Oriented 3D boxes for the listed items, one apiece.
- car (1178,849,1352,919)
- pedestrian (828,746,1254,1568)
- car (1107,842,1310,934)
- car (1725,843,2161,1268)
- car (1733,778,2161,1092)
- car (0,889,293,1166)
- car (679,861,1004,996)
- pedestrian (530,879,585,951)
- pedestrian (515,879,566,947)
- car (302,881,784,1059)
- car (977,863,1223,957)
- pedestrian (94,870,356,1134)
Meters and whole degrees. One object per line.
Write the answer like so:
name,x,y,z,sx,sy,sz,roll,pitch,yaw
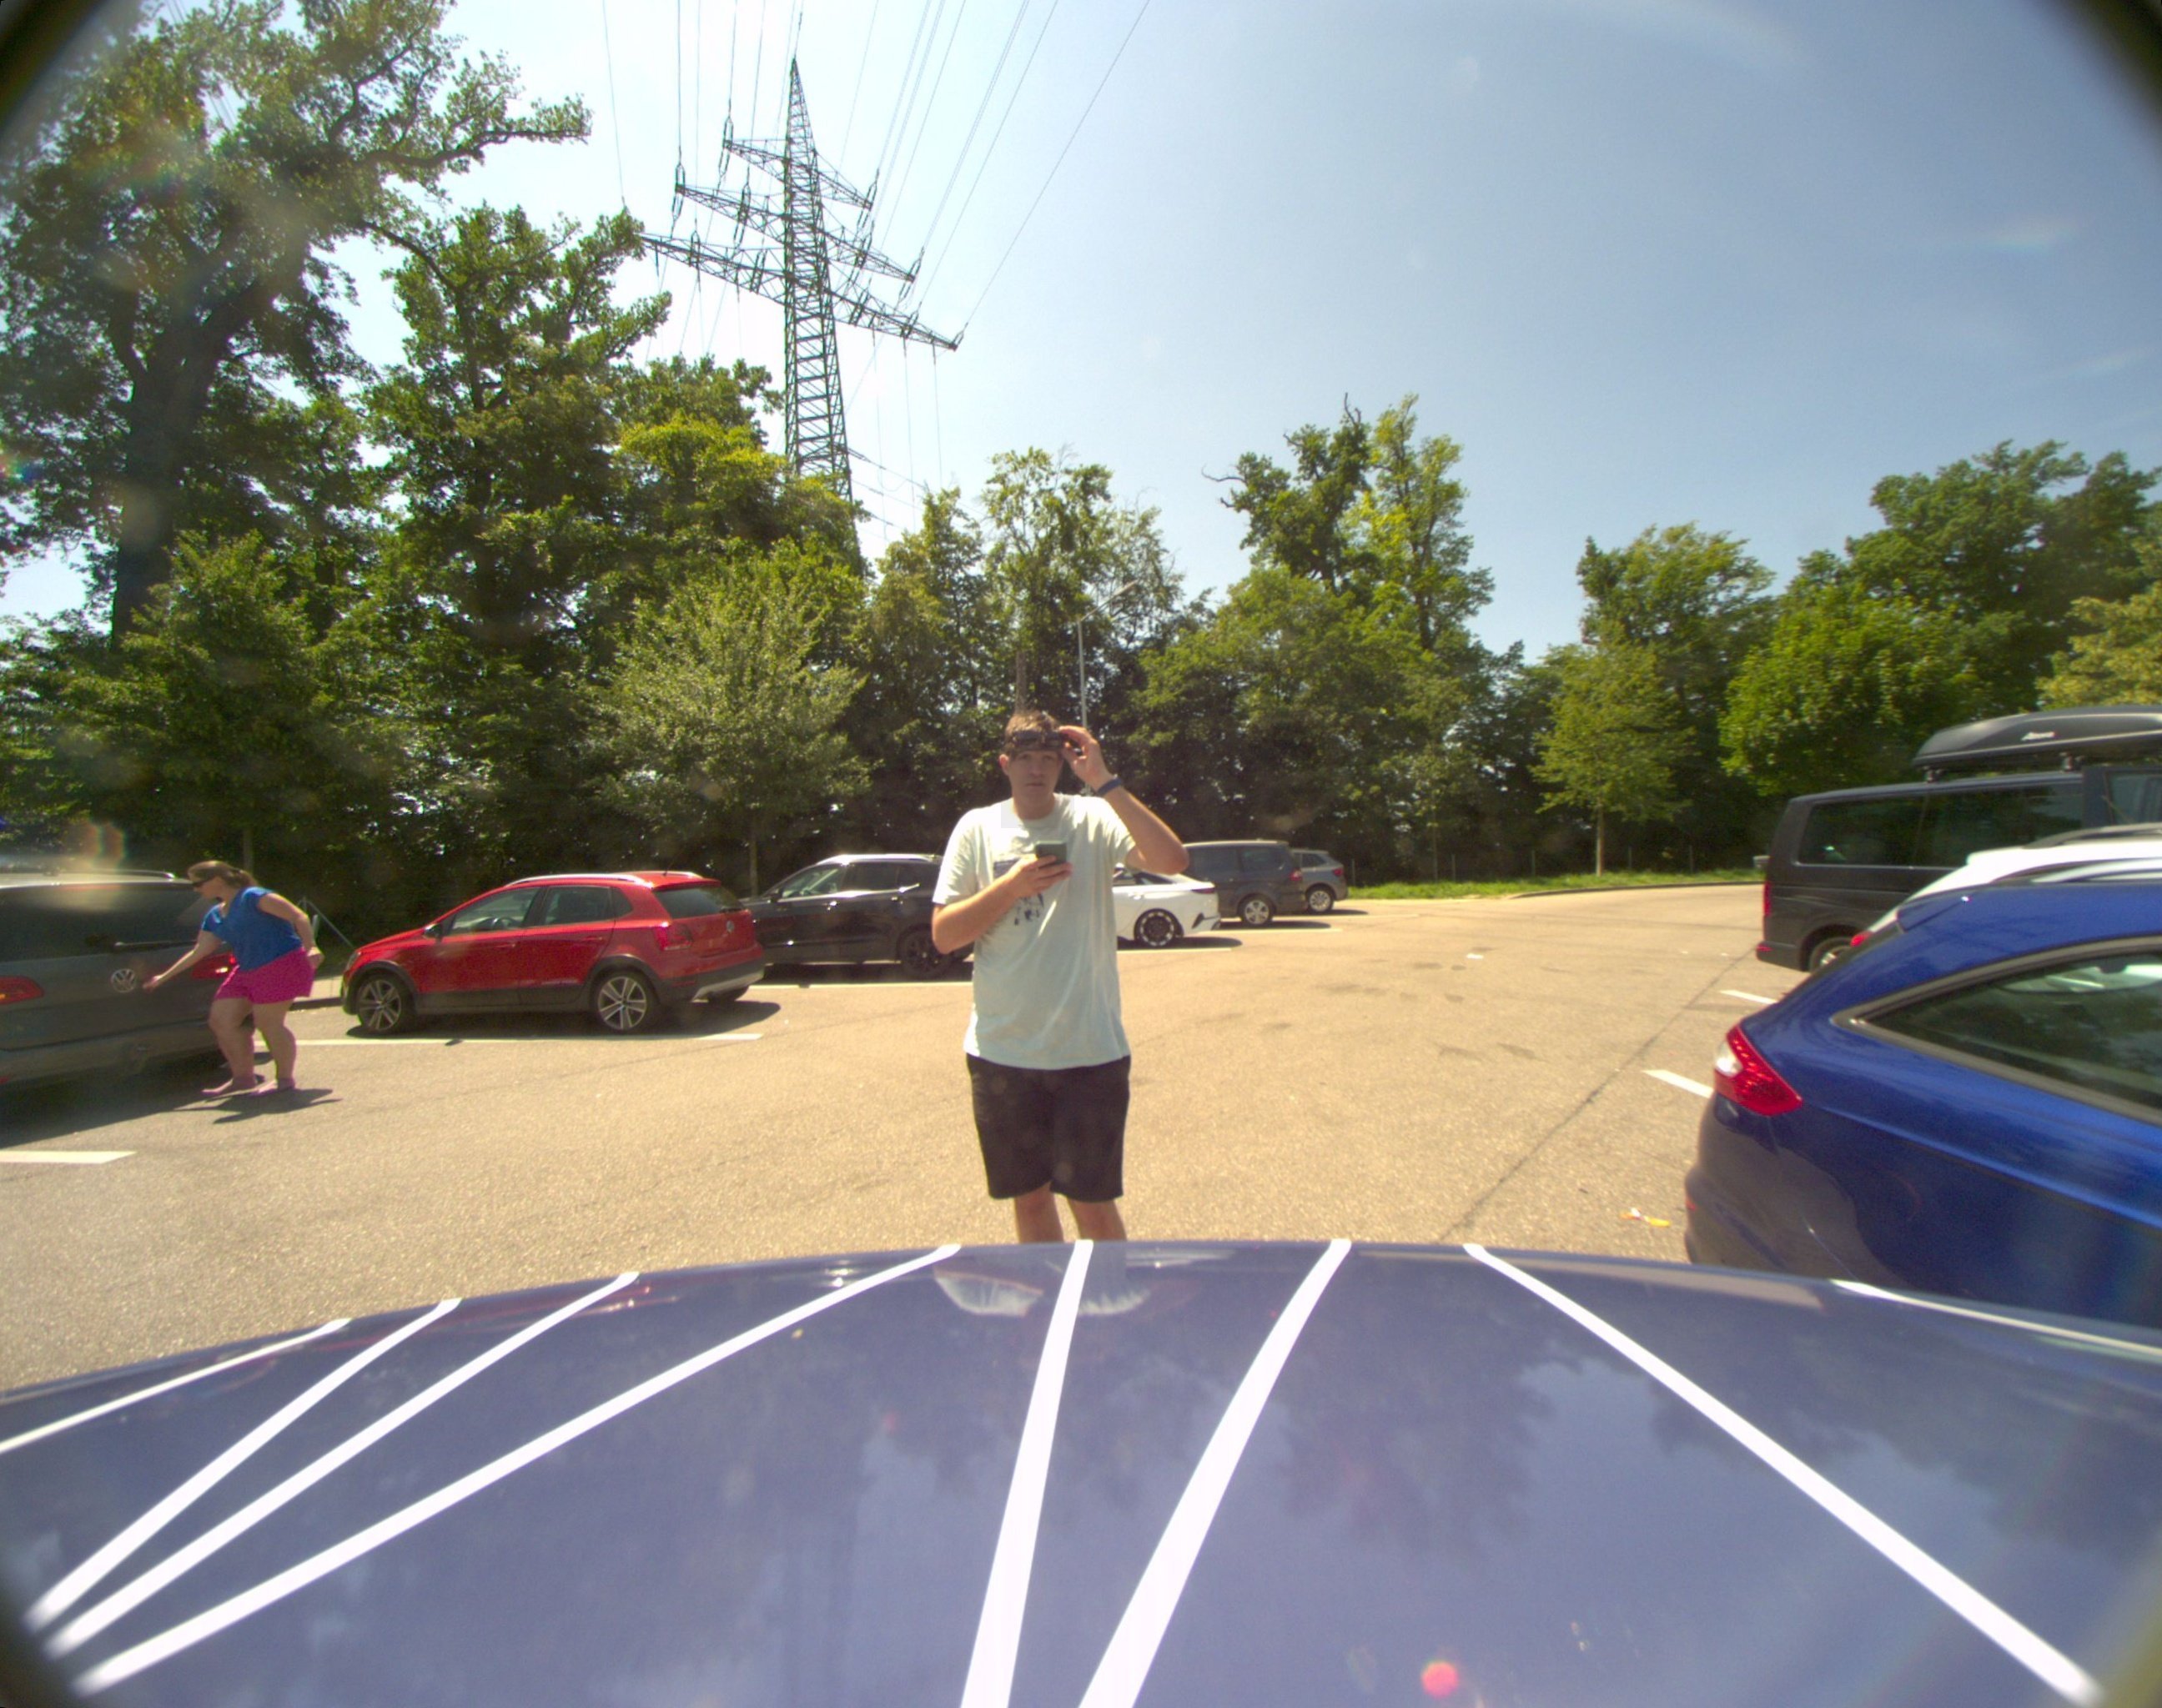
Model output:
car,4.339,0.694,18.170,3.818,1.530,1.722,-1,1,12
pedestrian,-0.091,0.686,2.030,0.890,1.831,0.622,-2,1,-2
car,2.586,0.671,15.468,3.818,1.714,1.722,-1,1,12
car,4.869,0.727,2.298,1.741,1.524,4.642,-3,-1,-2
car,7.317,0.439,4.927,1.961,1.858,4.642,-3,-1,-3
car,-8.295,1.113,5.459,3.985,1.572,1.749,-1,1,12
car,-3.069,0.942,10.278,3.787,1.564,1.721,-1,1,2
pedestrian,-10.008,1.146,14.526,0.782,1.287,0.670,-1,2,45
pedestrian,-10.906,1.172,15.331,0.782,1.287,0.670,-1,2,45
car,-5.242,1.072,7.668,3.785,1.457,1.722,-1,1,9
car,0.362,0.904,12.742,3.819,1.377,1.722,-1,1,6
pedestrian,-5.903,0.979,5.291,0.919,1.672,0.734,-2,1,5
